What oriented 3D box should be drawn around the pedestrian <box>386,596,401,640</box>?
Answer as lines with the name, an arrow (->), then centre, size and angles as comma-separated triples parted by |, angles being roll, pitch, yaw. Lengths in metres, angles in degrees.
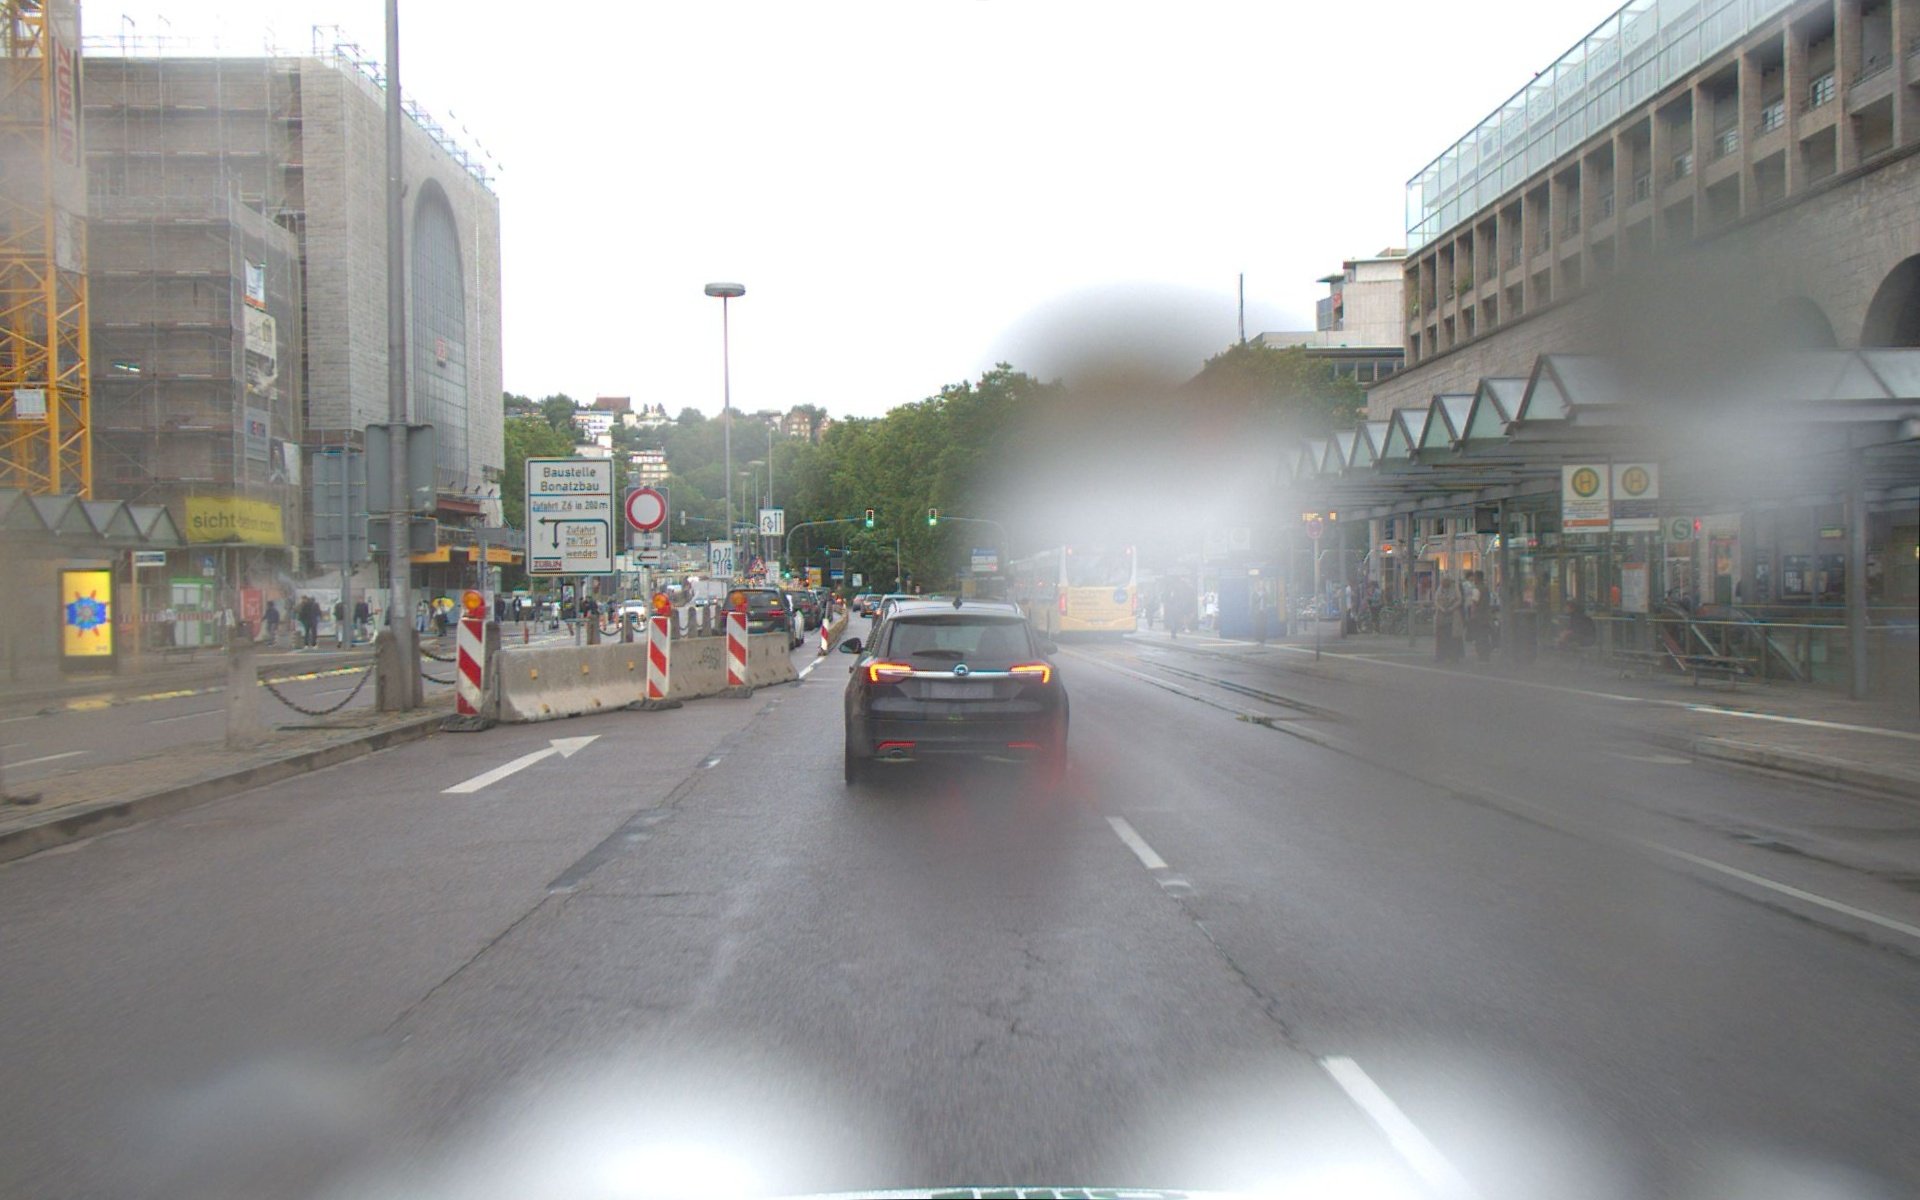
pedestrian -> -24.291, 0.748, 70.932 | 0.561, 1.873, 0.701 | 0, 0, -16

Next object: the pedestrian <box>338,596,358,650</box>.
pedestrian -> -21.372, 0.810, 57.775 | 0.498, 1.873, 0.703 | 0, 0, -8

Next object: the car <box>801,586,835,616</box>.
car -> -8.250, 0.047, 96.516 | 1.751, 1.715, 4.664 | -1, 0, -3

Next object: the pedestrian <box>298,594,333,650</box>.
pedestrian -> -21.932, 0.741, 56.288 | 0.688, 1.873, 0.877 | 0, 0, 26

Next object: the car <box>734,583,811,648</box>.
car -> -5.352, 0.418, 47.644 | 1.954, 1.736, 4.828 | -1, 0, -4

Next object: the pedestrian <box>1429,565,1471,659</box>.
pedestrian -> 9.867, 0.240, 33.334 | 0.662, 1.869, 0.574 | 0, 0, -1

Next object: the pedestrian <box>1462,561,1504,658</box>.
pedestrian -> 10.183, 0.174, 32.203 | 0.614, 1.869, 0.641 | 0, 0, 0

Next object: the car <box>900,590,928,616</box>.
car -> -2.833, 0.186, 101.373 | 1.641, 1.609, 3.237 | 0, 0, -3

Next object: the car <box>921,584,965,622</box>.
car -> -0.844, 0.157, 78.702 | 1.815, 1.747, 3.996 | 0, 0, -5

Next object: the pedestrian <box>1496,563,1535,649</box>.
pedestrian -> 12.254, 0.127, 36.499 | 0.734, 1.869, 0.762 | 0, 0, 13

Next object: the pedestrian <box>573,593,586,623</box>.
pedestrian -> -24.269, 0.510, 105.595 | 0.684, 1.873, 0.877 | 0, -1, -5

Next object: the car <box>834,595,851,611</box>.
car -> -12.124, 0.334, 171.230 | 1.672, 1.694, 3.703 | 0, 0, -3

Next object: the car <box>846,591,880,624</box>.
car -> -6.269, 0.497, 106.282 | 1.945, 2.049, 4.364 | 0, 0, -6

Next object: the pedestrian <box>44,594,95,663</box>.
pedestrian -> -24.691, 0.779, 45.873 | 0.840, 1.873, 1.044 | 1, 0, -2

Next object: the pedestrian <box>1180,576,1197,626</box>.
pedestrian -> 8.493, 0.028, 61.545 | 0.553, 1.869, 0.569 | 0, 0, 1

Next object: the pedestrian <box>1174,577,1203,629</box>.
pedestrian -> 8.287, 0.100, 59.986 | 0.964, 1.869, 0.836 | 0, 0, 13

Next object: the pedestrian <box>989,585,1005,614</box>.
pedestrian -> 2.390, -0.041, 107.348 | 0.774, 1.871, 0.946 | -1, 0, -18

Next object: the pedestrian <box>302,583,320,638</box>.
pedestrian -> -22.303, 0.365, 56.854 | 0.331, 1.873, 0.509 | 0, 0, 13

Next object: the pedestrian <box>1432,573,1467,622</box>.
pedestrian -> 17.541, -0.099, 59.307 | 0.968, 1.724, 0.853 | 0, 0, 38

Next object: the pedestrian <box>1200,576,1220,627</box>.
pedestrian -> 9.220, 0.056, 60.933 | 0.680, 1.869, 0.556 | 0, 0, 14

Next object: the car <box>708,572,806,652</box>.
car -> -5.123, 0.276, 42.308 | 1.953, 1.895, 4.831 | -1, 0, -1

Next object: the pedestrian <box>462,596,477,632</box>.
pedestrian -> -23.693, 0.690, 79.876 | 0.670, 1.715, 0.835 | 0, 0, -16

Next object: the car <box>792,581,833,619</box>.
car -> -7.527, -0.005, 84.792 | 1.954, 1.818, 4.844 | -1, 0, -4

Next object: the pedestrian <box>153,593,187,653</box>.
pedestrian -> -24.958, 0.727, 52.256 | 0.727, 1.873, 0.656 | 0, 0, 1

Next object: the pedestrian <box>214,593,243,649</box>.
pedestrian -> -25.034, 0.712, 56.595 | 0.706, 1.873, 0.612 | 0, 0, 1

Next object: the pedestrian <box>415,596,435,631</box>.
pedestrian -> -25.772, 0.653, 79.648 | 0.662, 1.642, 0.838 | 0, 0, 0

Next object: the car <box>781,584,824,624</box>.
car -> -7.488, 0.185, 78.978 | 1.954, 1.818, 4.450 | -1, 0, -5

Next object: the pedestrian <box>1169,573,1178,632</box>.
pedestrian -> 6.710, 0.077, 51.990 | 0.238, 1.869, 0.512 | 0, 0, 1

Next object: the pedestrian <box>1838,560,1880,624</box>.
pedestrian -> 24.997, -0.221, 45.990 | 0.744, 1.740, 0.752 | 0, 0, -2

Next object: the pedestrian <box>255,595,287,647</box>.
pedestrian -> -25.467, 0.766, 61.131 | 0.786, 1.873, 0.868 | 0, 0, 1

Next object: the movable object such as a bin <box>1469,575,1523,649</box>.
movable object such as a bin -> 12.389, 0.259, 38.235 | 0.654, 1.681, 1.040 | 0, 0, -25

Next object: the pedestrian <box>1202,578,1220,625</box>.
pedestrian -> 9.351, 0.055, 61.573 | 0.597, 1.753, 0.592 | 0, 0, 1

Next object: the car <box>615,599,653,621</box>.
car -> -22.376, 0.671, 113.716 | 1.953, 1.493, 3.998 | 0, 0, -3

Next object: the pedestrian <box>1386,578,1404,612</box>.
pedestrian -> 23.506, -0.265, 89.422 | 0.716, 1.823, 0.788 | -1, 0, -3

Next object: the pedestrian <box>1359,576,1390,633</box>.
pedestrian -> 12.481, 0.133, 49.814 | 0.733, 1.724, 0.902 | 0, 0, 1

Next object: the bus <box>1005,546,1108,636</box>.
bus -> 3.672, -0.307, 65.216 | 3.051, 3.261, 9.236 | 0, 0, -3

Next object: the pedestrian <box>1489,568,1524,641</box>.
pedestrian -> 14.003, 0.106, 42.391 | 0.599, 1.863, 0.587 | 0, 0, -31

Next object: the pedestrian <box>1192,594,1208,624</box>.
pedestrian -> 10.091, 0.387, 69.550 | 0.504, 1.254, 0.770 | -1, 0, 0

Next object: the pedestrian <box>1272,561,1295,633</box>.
pedestrian -> 10.203, -0.083, 52.162 | 0.578, 2.254, 0.587 | 0, 0, -1

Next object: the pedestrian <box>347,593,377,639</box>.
pedestrian -> -24.543, 0.646, 67.866 | 0.822, 1.873, 1.058 | 0, 0, 1

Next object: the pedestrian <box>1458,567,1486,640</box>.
pedestrian -> 13.360, 0.100, 43.168 | 0.594, 1.892, 0.625 | 0, 0, 7

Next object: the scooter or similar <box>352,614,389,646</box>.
scooter or similar -> -20.693, 1.055, 58.084 | 0.450, 1.084, 1.237 | 0, 0, 32

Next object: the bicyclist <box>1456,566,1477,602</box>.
bicyclist -> 22.998, -0.723, 75.115 | 0.636, 1.581, 0.907 | -1, 0, -1

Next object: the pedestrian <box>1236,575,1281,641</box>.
pedestrian -> 7.973, 0.206, 44.188 | 0.749, 1.720, 0.992 | 0, 0, -23

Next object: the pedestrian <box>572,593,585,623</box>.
pedestrian -> -24.210, 0.513, 104.885 | 0.684, 1.873, 0.528 | -1, 0, -5

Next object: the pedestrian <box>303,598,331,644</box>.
pedestrian -> -26.544, 0.847, 68.254 | 0.786, 1.873, 0.851 | 0, 0, 1

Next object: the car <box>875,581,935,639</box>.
car -> -1.721, 0.287, 52.084 | 1.793, 1.715, 4.133 | -1, 0, -2

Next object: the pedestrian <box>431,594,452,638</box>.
pedestrian -> -22.406, 0.694, 71.504 | 0.861, 1.873, 0.835 | 0, 0, -16

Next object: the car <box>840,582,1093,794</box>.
car -> 0.011, 0.635, 14.512 | 1.839, 1.534, 4.851 | 0, 0, -1

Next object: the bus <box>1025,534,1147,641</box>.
bus -> 4.100, -0.374, 56.062 | 3.078, 3.304, 9.130 | 0, 0, -2

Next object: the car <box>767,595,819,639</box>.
car -> -6.774, 0.656, 67.492 | 1.954, 1.683, 4.638 | -1, 0, -4

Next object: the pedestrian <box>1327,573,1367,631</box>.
pedestrian -> 12.418, 0.060, 53.104 | 0.778, 1.836, 0.982 | -1, 0, -31

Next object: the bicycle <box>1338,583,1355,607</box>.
bicycle -> 26.306, -0.352, 112.509 | 0.776, 1.589, 2.132 | -1, 0, 4

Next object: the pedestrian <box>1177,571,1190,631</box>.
pedestrian -> 7.030, 0.025, 52.103 | 0.339, 1.869, 0.533 | 0, 0, 1

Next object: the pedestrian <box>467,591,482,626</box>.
pedestrian -> -26.080, 0.452, 88.854 | 0.758, 1.873, 0.831 | 0, 0, -16
